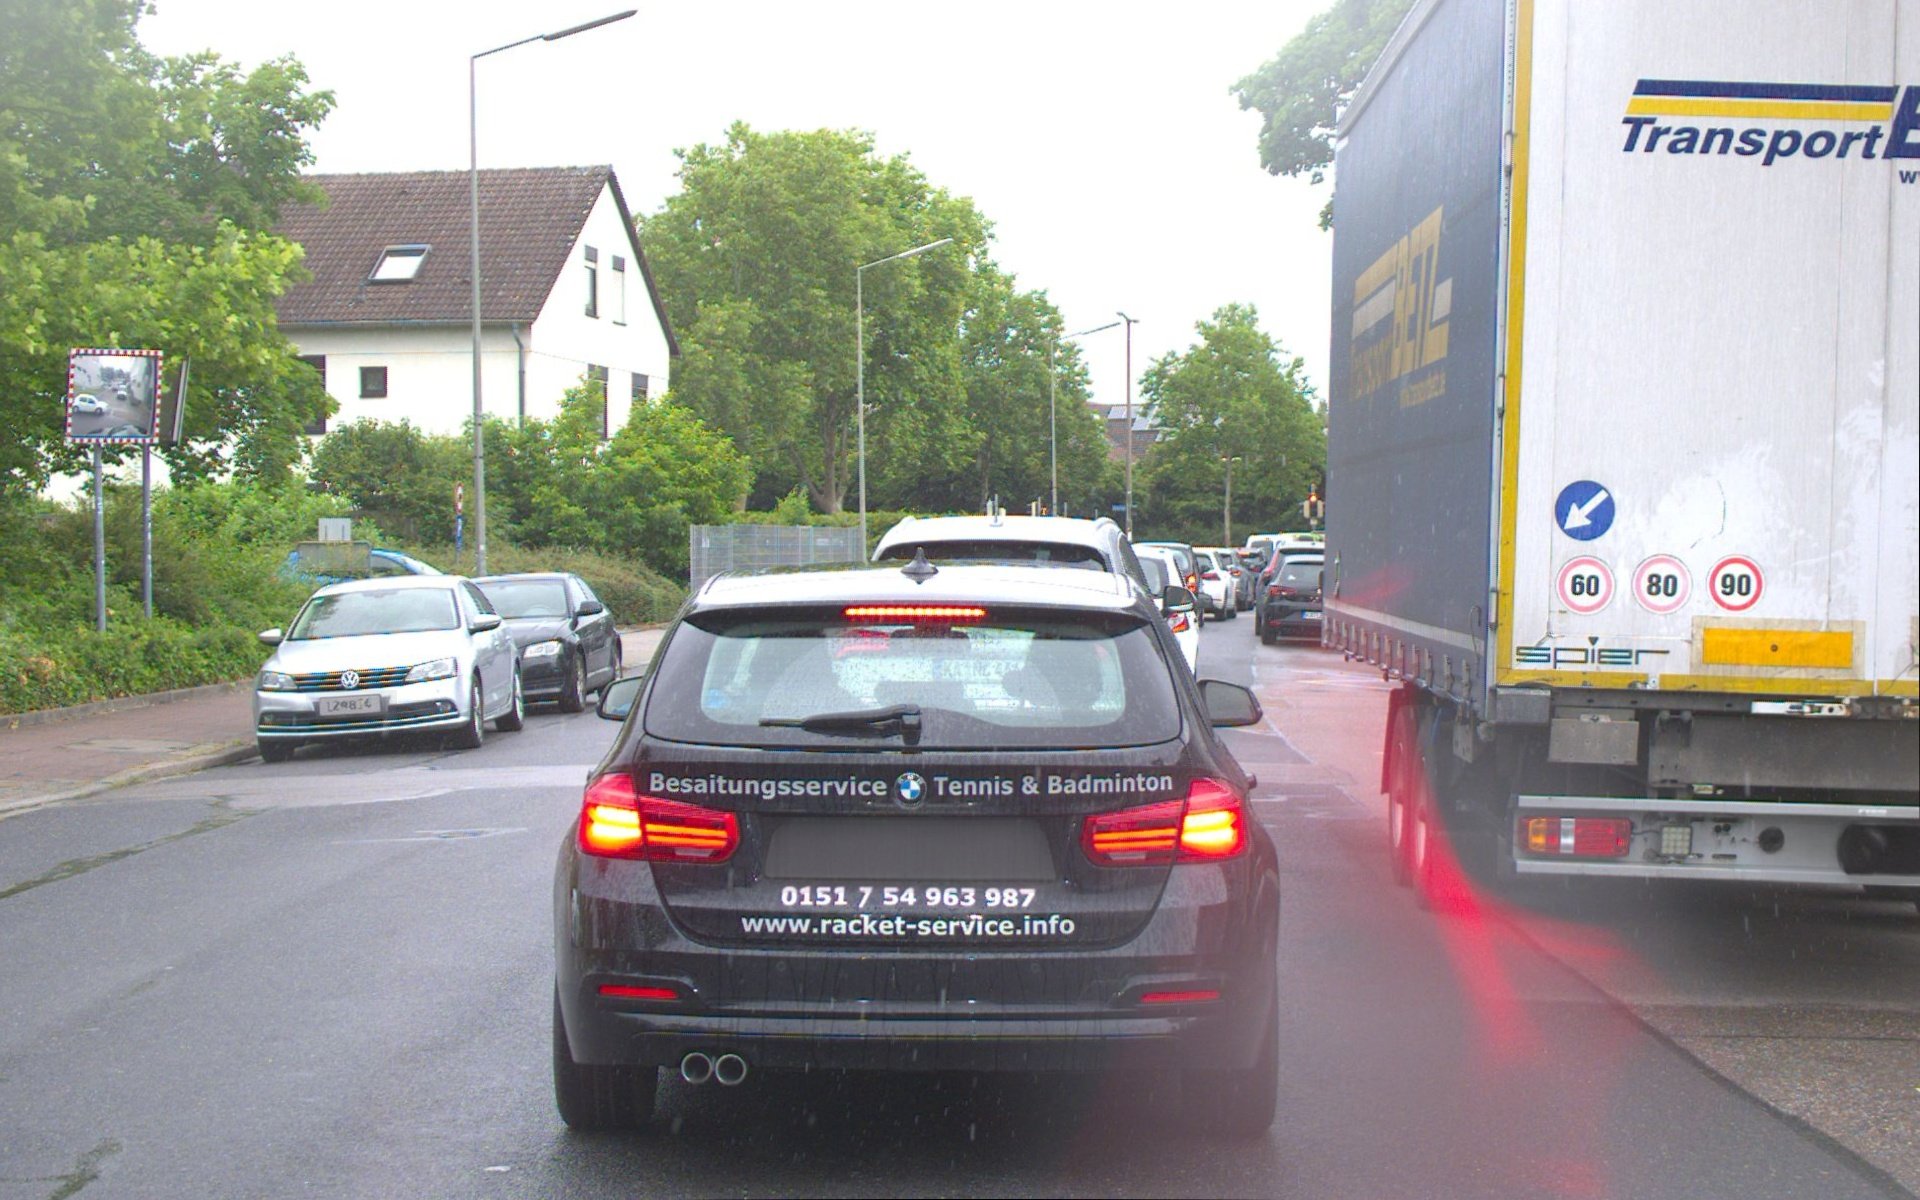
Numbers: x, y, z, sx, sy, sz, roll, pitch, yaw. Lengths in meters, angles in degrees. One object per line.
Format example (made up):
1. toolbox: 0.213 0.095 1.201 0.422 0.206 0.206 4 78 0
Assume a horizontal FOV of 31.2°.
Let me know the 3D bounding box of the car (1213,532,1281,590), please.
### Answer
1. car: 8.054 -1.118 96.207 1.804 1.581 3.999 0 1 6

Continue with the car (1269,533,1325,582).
1. car: 11.165 -1.404 113.757 1.804 1.581 3.999 0 1 6

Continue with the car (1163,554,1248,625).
1. car: 5.708 -0.253 79.748 1.805 1.581 3.999 0 0 6

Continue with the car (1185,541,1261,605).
1. car: 6.758 -0.684 87.956 1.805 1.581 3.999 0 0 6

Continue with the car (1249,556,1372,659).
1. car: 5.559 0.098 54.887 1.804 1.581 3.999 0 0 4

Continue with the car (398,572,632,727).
1. car: -4.436 0.460 34.766 1.705 1.362 3.838 -3 1 2

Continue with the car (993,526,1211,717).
1. car: 1.323 0.162 30.699 1.804 1.581 3.999 0 0 4

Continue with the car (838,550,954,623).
1. car: -1.292 -0.302 71.323 1.706 1.362 3.837 -3 1 9

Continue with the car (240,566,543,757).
1. car: -4.685 0.452 28.944 1.705 1.362 4.601 -3 1 0

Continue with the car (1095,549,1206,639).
1. car: 3.532 -0.127 63.112 1.805 1.581 3.999 0 0 6

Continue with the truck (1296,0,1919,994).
1. truck: 3.167 -0.579 14.954 2.741 3.598 7.750 2 1 2

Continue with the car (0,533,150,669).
1. car: -11.582 0.005 39.739 3.987 1.535 1.911 0 1 0

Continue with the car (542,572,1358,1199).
1. car: -0.141 0.623 9.623 1.804 1.390 4.001 0 0 -4

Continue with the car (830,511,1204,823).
1. car: 0.218 0.328 19.542 1.804 1.581 4.001 0 0 -4

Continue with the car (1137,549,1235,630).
1. car: 4.610 -0.225 69.678 1.805 1.581 3.999 0 0 6

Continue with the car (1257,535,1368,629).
1. car: 6.163 -0.318 60.395 1.804 1.581 3.999 0 0 4

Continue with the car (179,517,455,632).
1. car: -9.947 -0.401 53.342 3.826 1.589 1.711 -3 1 5
